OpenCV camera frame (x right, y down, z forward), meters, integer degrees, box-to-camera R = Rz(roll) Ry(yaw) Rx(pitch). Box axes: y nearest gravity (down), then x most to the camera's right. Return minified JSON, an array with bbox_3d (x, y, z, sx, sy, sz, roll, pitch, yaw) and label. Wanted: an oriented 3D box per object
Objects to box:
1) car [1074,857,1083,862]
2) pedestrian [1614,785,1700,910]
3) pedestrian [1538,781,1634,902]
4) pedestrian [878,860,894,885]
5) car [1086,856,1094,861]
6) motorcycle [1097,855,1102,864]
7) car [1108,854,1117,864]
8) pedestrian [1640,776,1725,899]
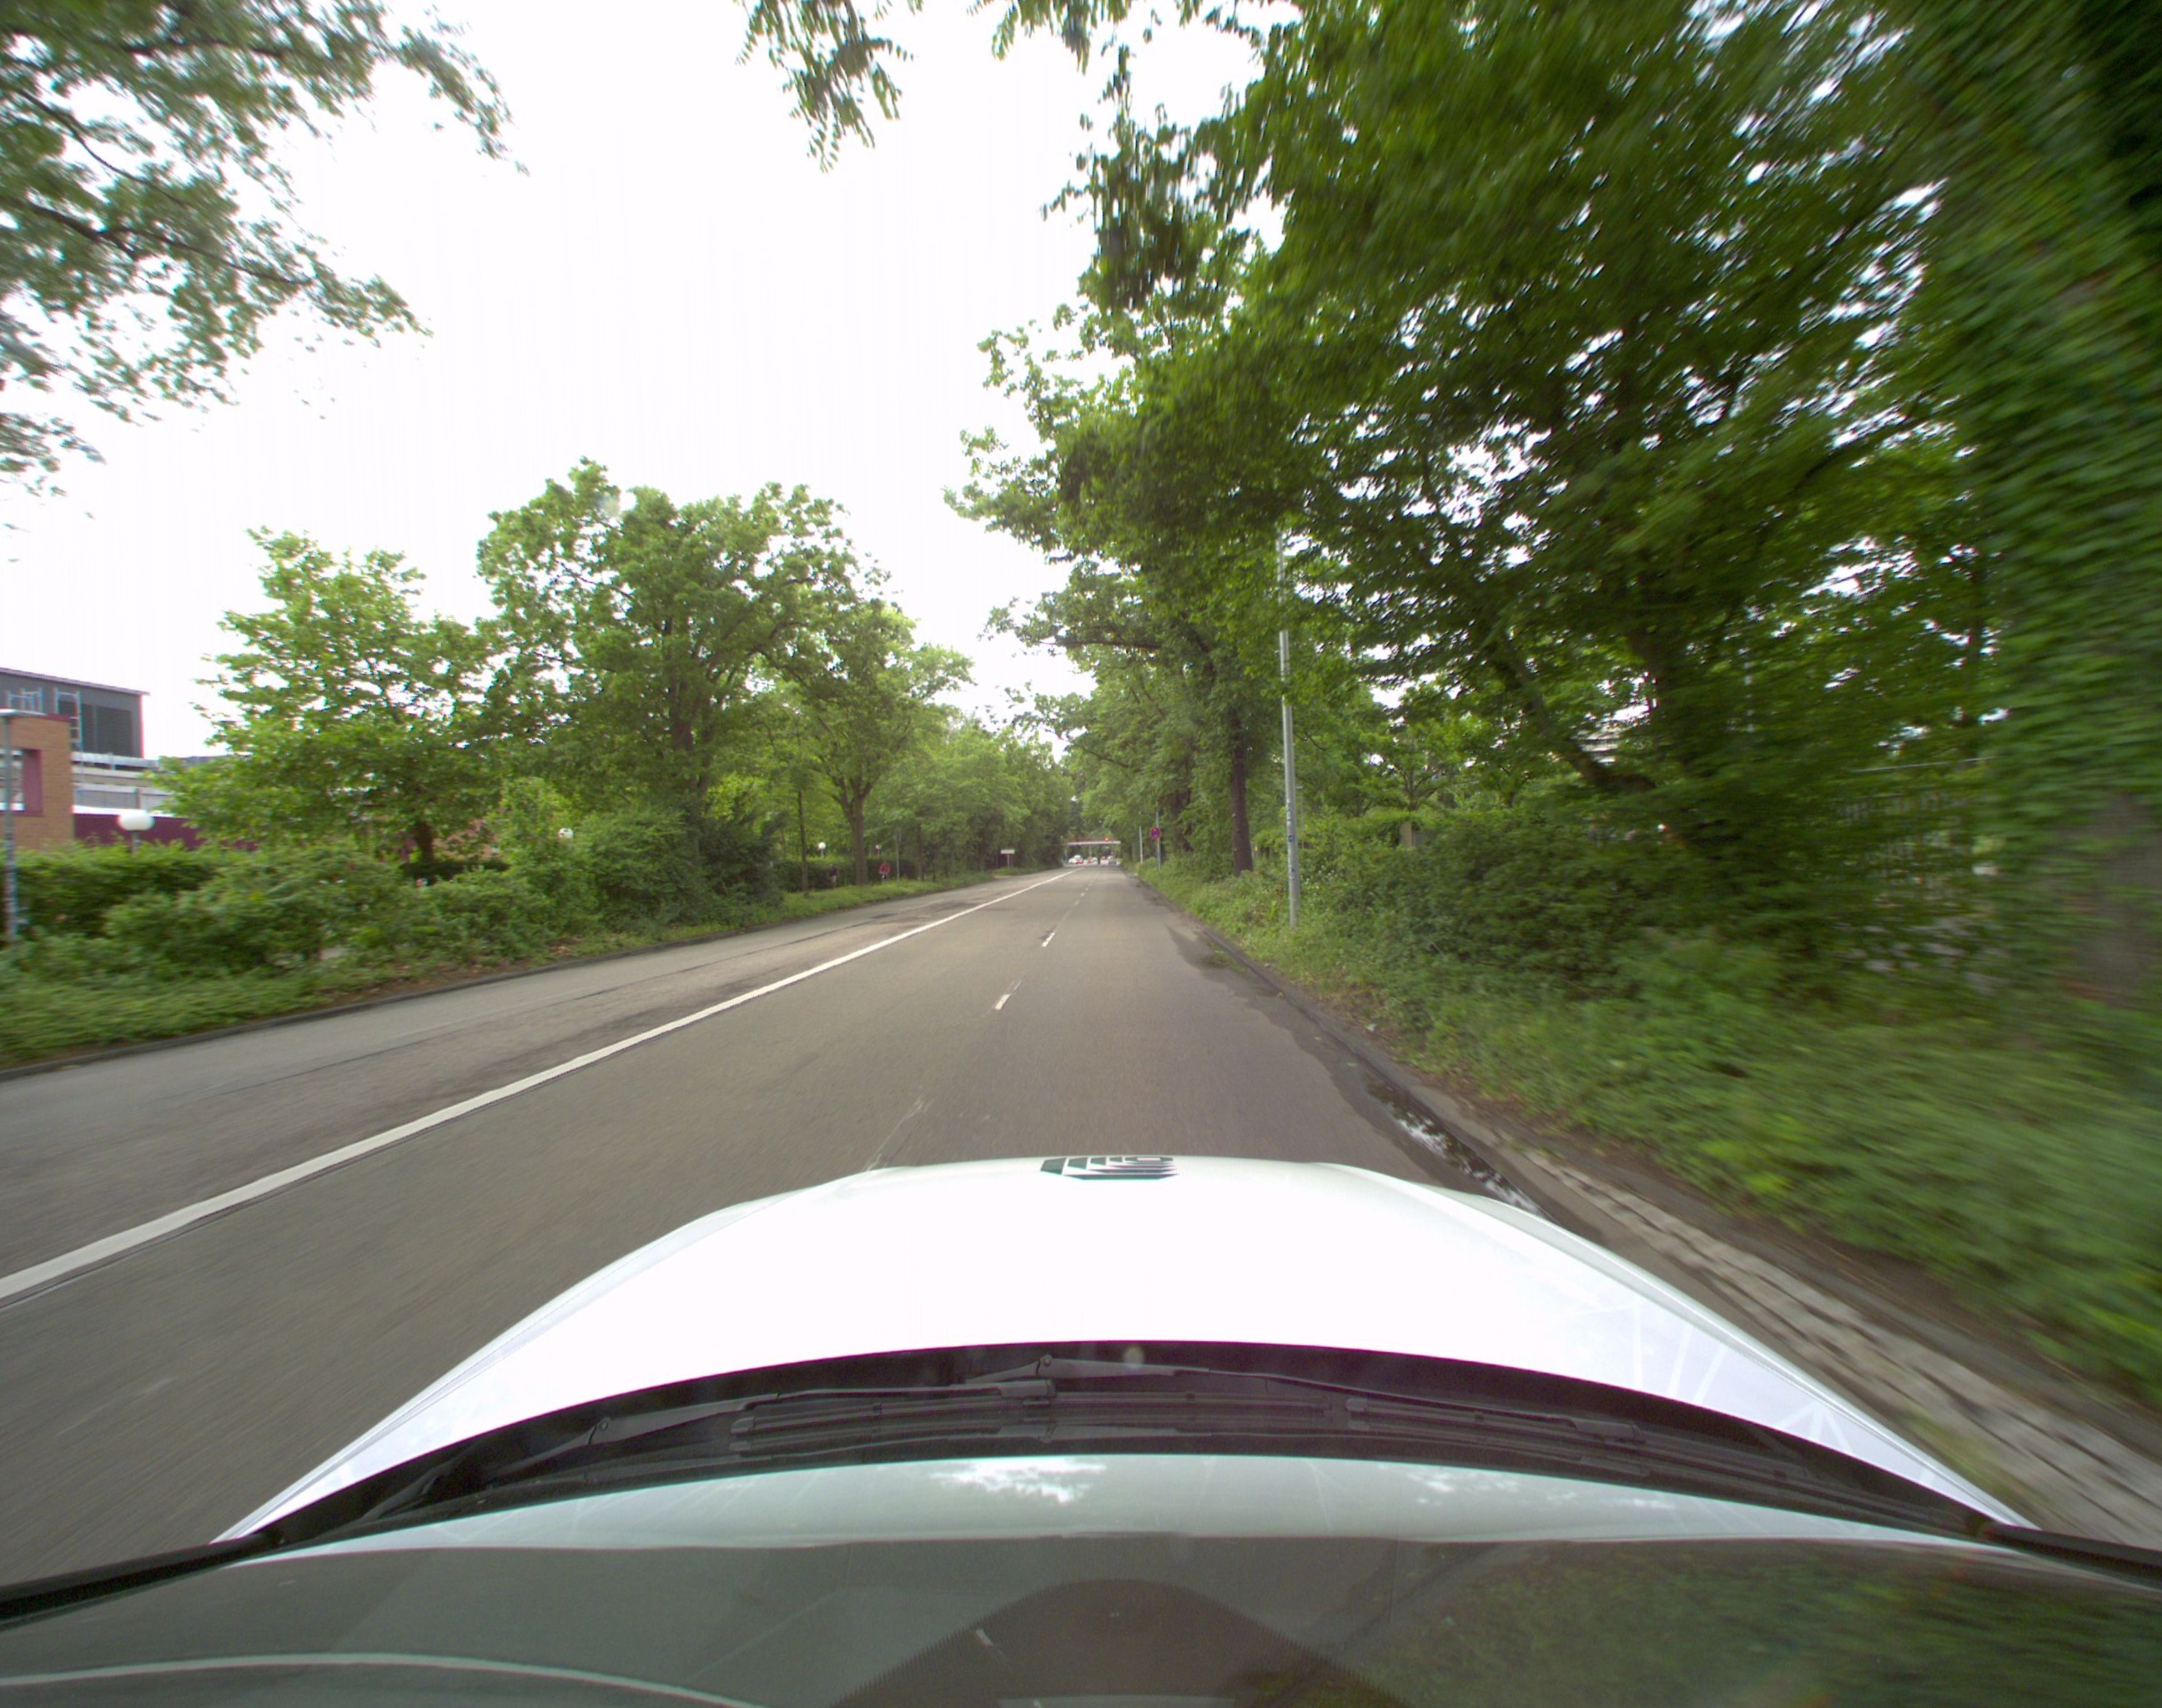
[{"bbox_3d":[-0.704,1.401,224.337,1.984,1.354,3.900,-1,0,5],"label":"car"},{"bbox_3d":[9.794,-0.111,13.874,0.821,2.013,0.720,-4,-1,1],"label":"pedestrian"},{"bbox_3d":[8.882,-0.213,14.379,0.923,2.013,1.039,-3,0,-3],"label":"pedestrian"},{"bbox_3d":[-12.774,1.181,53.363,0.789,1.613,0.848,-1,0,2],"label":"pedestrian"},{"bbox_3d":[2.399,1.342,224.515,1.673,1.362,3.910,-1,0,-8],"label":"car"},{"bbox_3d":[4.056,1.186,181.155,0.986,1.936,2.670,-1,0,2],"label":"motorcycle"},{"bbox_3d":[6.907,1.037,177.267,1.836,2.013,4.002,-1,0,2],"label":"car"},{"bbox_3d":[10.346,-0.271,14.031,0.821,2.013,0.720,-3,-1,1],"label":"pedestrian"}]
